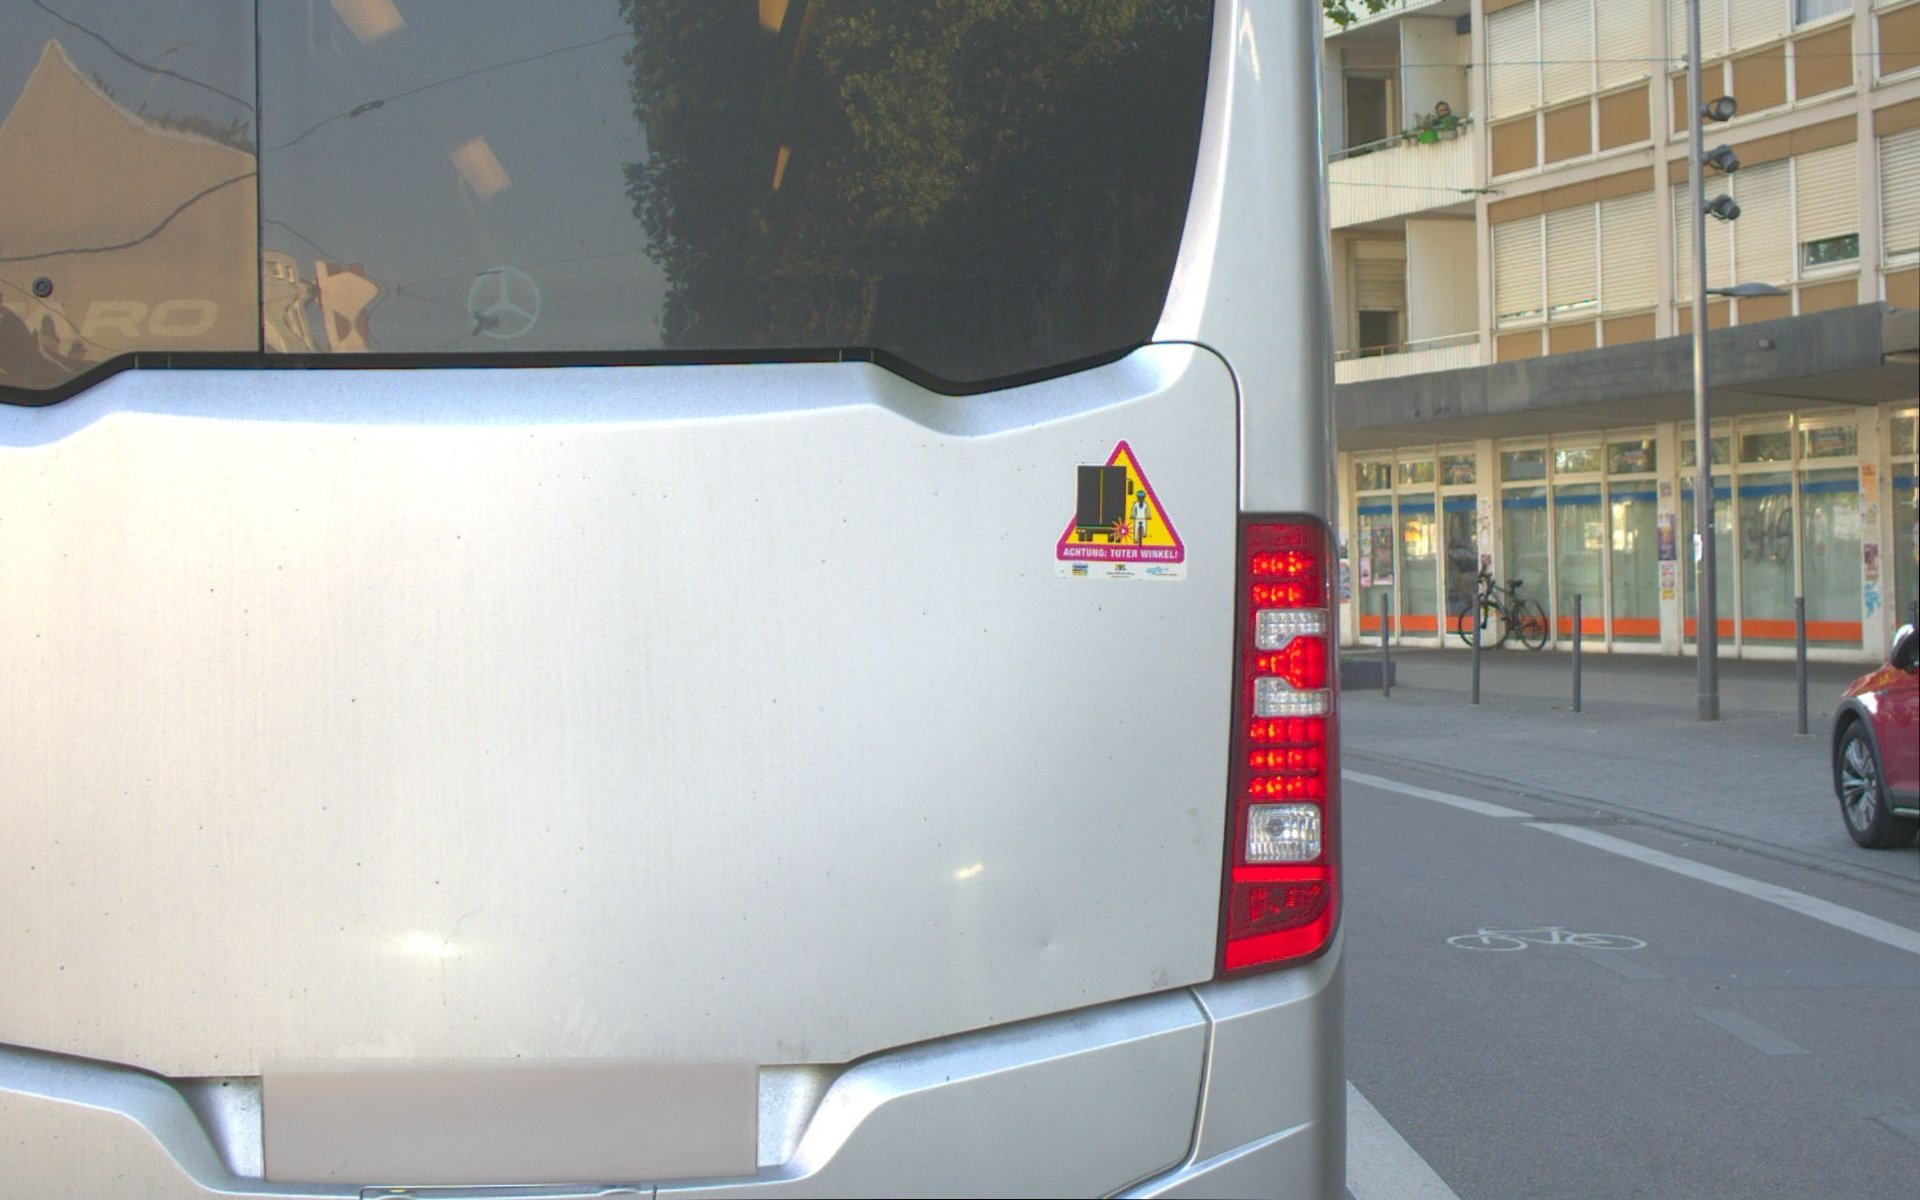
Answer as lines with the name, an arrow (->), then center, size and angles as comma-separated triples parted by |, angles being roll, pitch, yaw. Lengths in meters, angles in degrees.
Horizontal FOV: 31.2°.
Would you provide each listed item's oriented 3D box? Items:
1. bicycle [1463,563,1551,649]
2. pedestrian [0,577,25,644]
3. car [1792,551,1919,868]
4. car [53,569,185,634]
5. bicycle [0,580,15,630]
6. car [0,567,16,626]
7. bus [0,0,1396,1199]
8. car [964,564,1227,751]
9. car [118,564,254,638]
bicycle -> 7.224, 0.071, 45.441 | 0.437, 1.089, 1.462 | -4, 2, -20
pedestrian -> -18.697, 0.210, 67.131 | 0.777, 1.299, 0.594 | -1, 1, -21
car -> 5.501, 0.502, 15.974 | 1.778, 1.491, 4.568 | -3, 1, -4
car -> -19.821, 0.020, 80.971 | 1.663, 1.390, 3.411 | -6, 4, -39
bicycle -> -23.719, 0.112, 84.931 | 0.507, 1.207, 2.093 | -1, 1, -21
car -> -25.692, -0.041, 88.029 | 1.663, 1.463, 3.411 | -5, 4, -38
bus -> -0.944, -0.164, 9.890 | 2.657, 3.088, 10.217 | -1, 0, -2
car -> 1.067, 0.432, 29.018 | 1.803, 1.469, 4.072 | 0, 1, -4
car -> -17.496, 0.004, 77.627 | 1.663, 1.511, 3.412 | -5, 4, -37
